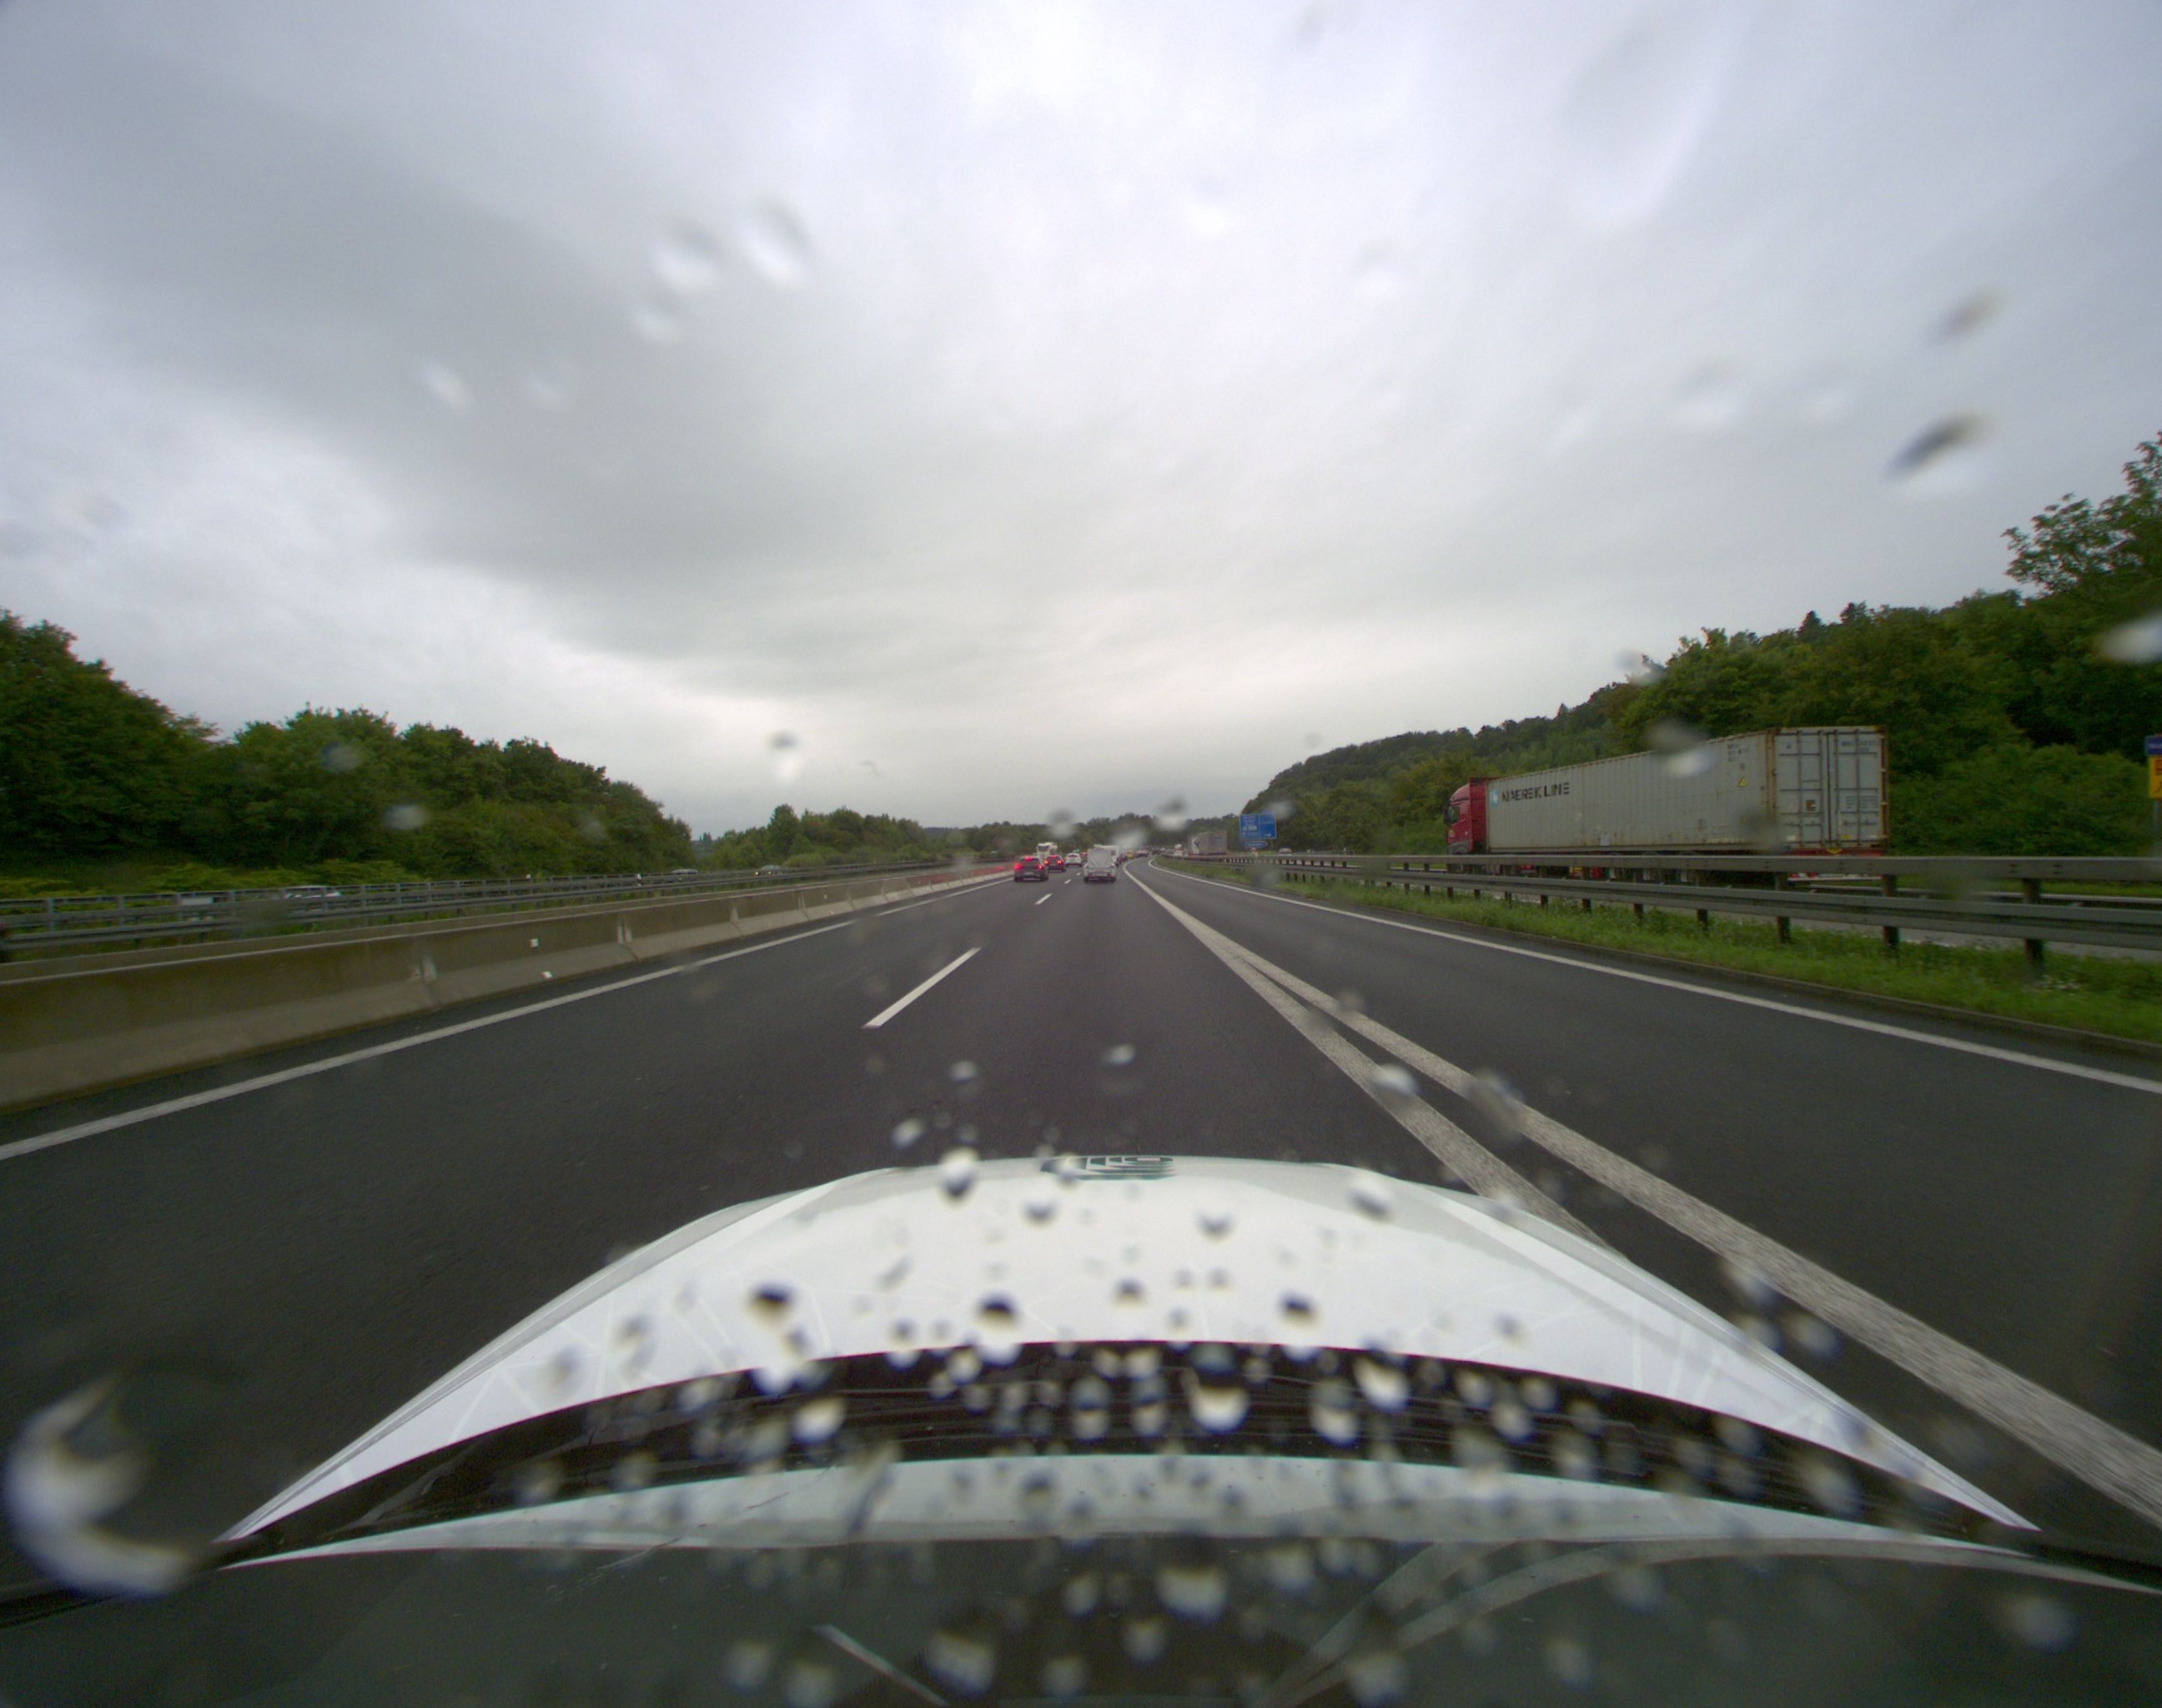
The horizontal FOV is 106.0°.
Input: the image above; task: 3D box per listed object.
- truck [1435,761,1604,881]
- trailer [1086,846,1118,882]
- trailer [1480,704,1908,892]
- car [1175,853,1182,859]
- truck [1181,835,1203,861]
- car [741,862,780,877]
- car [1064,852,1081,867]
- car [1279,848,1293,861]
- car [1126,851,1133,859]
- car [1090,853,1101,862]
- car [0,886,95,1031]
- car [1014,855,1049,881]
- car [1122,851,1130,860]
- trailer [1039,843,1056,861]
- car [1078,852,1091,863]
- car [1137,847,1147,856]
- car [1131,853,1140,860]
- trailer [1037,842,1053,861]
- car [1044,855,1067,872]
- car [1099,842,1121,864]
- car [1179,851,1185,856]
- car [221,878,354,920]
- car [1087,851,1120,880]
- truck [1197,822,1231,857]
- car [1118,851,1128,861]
[{"bbox_3d":[15.725,-1.075,29.817,2.608,3.885,6.388,-1,0,-1],"label":"truck"},{"bbox_3d":[1.165,0.539,44.231,1.669,1.812,4.002,-1,0,2],"label":"trailer"},{"bbox_3d":[15.848,-1.145,23.224,2.596,3.894,12.484,-1,0,-1],"label":"trailer"},{"bbox_3d":[23.490,0.522,196.679,1.667,1.456,4.006,-1,0,6],"label":"car"},{"bbox_3d":[20.967,-1.095,154.563,3.201,4.666,13.047,-1,0,4],"label":"truck"},{"bbox_3d":[-32.012,1.521,81.474,1.811,1.456,4.780,-1,0,2],"label":"car"},{"bbox_3d":[-0.960,0.655,96.482,1.769,1.640,4.044,-1,0,2],"label":"car"},{"bbox_3d":[25.092,0.061,99.681,1.664,1.456,4.014,-1,0,13],"label":"car"},{"bbox_3d":[11.638,0.185,194.840,1.668,1.812,4.004,-1,0,4],"label":"car"},{"bbox_3d":[2.833,0.720,159.265,1.767,1.640,4.048,-1,0,5],"label":"car"},{"bbox_3d":[-16.318,1.496,10.115,1.986,2.014,4.984,-1,0,2],"label":"car"},{"bbox_3d":[-2.870,0.796,47.592,1.669,1.456,4.001,-1,0,2],"label":"car"},{"bbox_3d":[9.242,0.338,167.407,1.668,1.812,4.004,-1,0,4],"label":"car"},{"bbox_3d":[-7.146,-0.446,173.402,2.626,3.736,10.818,-1,0,3],"label":"trailer"},{"bbox_3d":[0.486,0.514,120.199,1.769,1.640,4.044,-1,0,2],"label":"car"},{"bbox_3d":[17.864,-0.804,238.249,2.503,2.574,5.321,-1,0,6],"label":"car"},{"bbox_3d":[14.041,0.621,210.240,2.025,1.683,4.010,-1,0,9],"label":"car"},{"bbox_3d":[-7.430,-0.517,167.602,2.626,3.715,6.496,-1,0,3],"label":"trailer"},{"bbox_3d":[-2.205,0.806,71.478,1.759,1.456,4.001,-1,0,2],"label":"car"},{"bbox_3d":[3.589,-0.075,100.354,2.496,2.585,5.705,-1,0,4],"label":"car"},{"bbox_3d":[29.601,-0.245,239.423,1.668,1.456,4.005,-1,0,5],"label":"car"},{"bbox_3d":[-34.722,1.917,35.804,1.812,1.632,4.058,-1,0,0],"label":"car"},{"bbox_3d":[1.338,0.649,47.908,1.811,1.616,4.780,-1,0,2],"label":"car"},{"bbox_3d":[18.838,-1.866,115.819,3.202,4.666,13.040,-1,0,3],"label":"truck"},{"bbox_3d":[7.865,0.366,151.953,1.668,1.812,4.004,-1,0,4],"label":"car"}]
